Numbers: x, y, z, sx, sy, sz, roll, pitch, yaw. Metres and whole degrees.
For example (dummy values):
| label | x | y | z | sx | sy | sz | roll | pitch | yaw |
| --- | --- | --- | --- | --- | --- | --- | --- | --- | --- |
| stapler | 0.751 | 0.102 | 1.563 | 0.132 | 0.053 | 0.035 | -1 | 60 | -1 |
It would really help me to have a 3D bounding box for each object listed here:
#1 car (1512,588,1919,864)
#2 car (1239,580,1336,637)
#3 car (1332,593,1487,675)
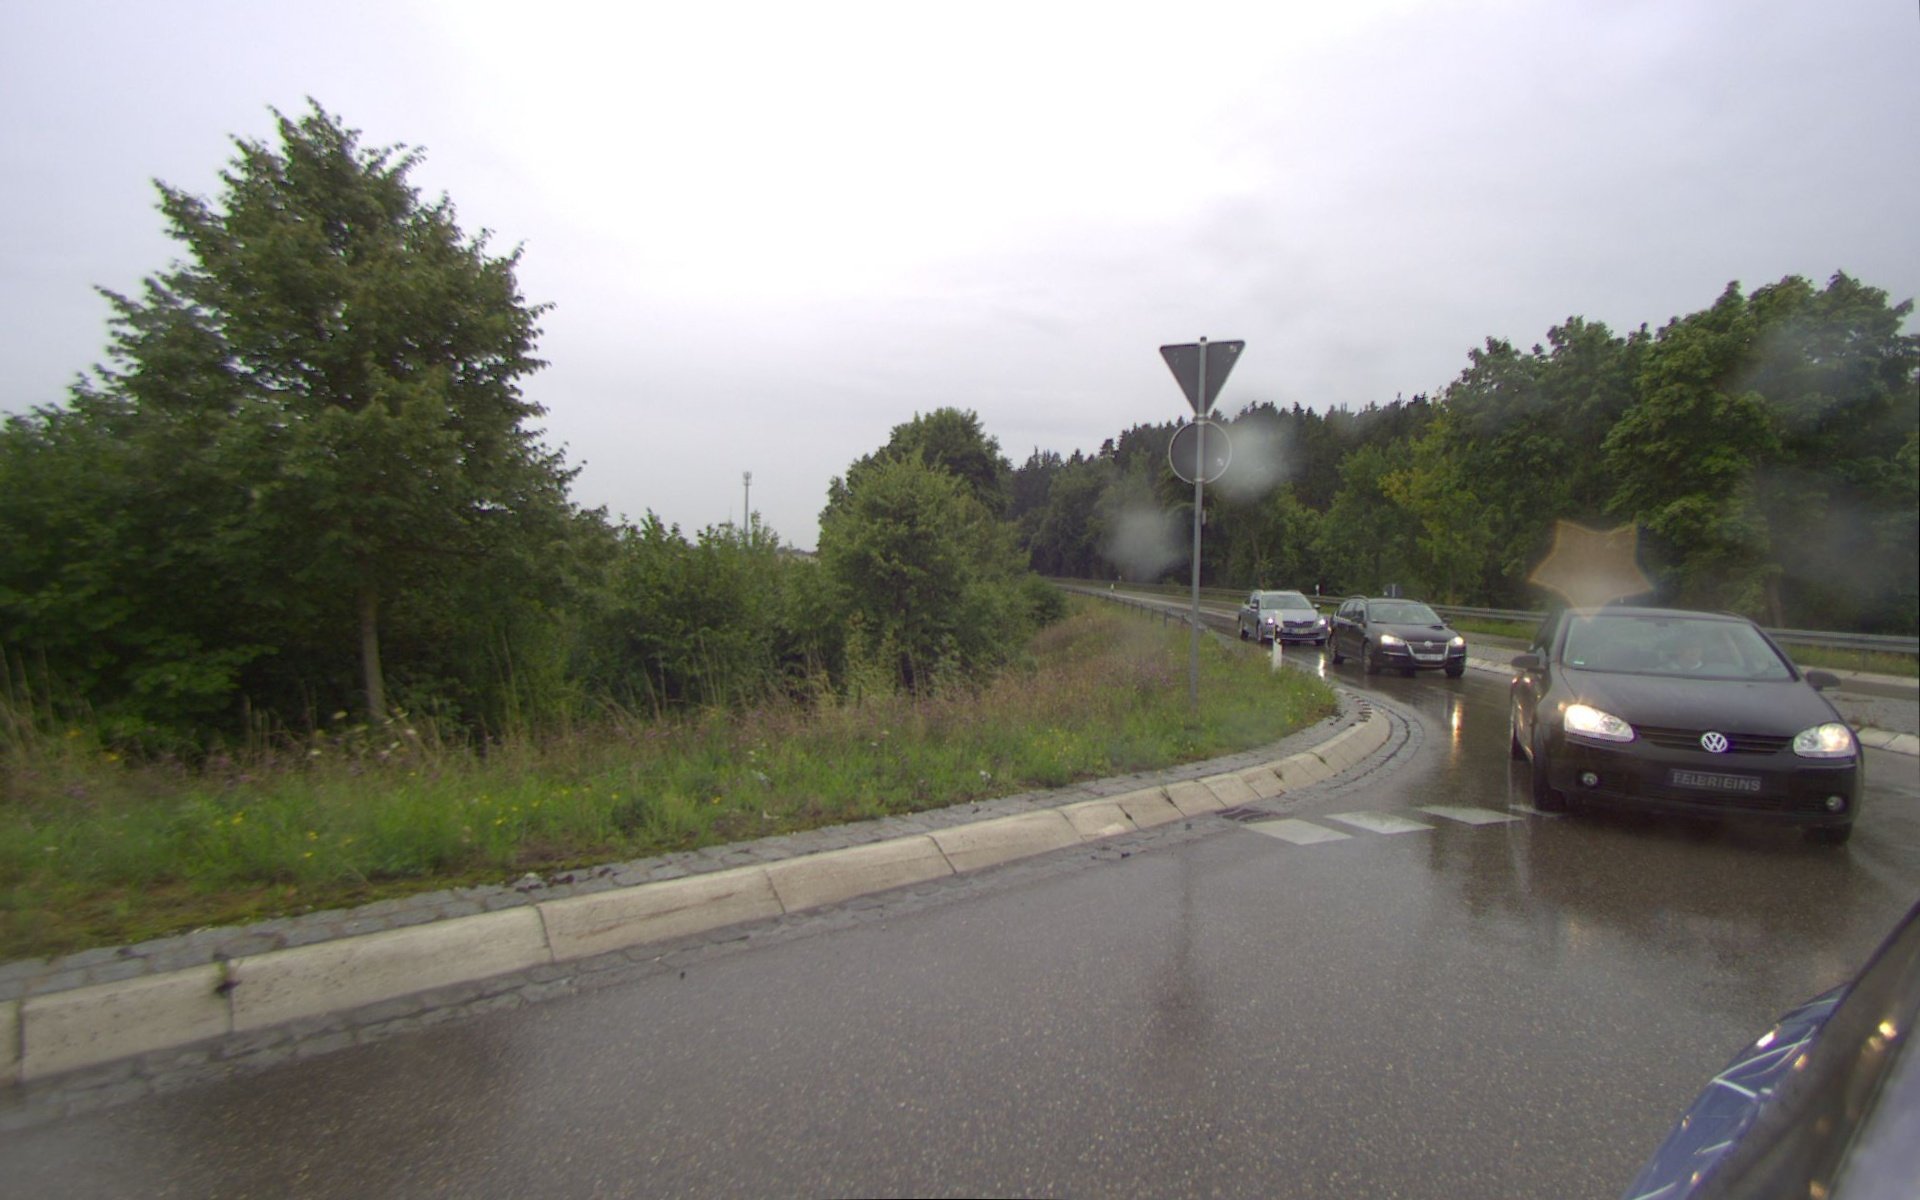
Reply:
| label | x | y | z | sx | sy | sz | roll | pitch | yaw |
| --- | --- | --- | --- | --- | --- | --- | --- | --- | --- |
| car | 5.468 | 0.700 | 7.931 | 1.857 | 1.439 | 4.459 | 2 | 1 | 28 |
| car | 9.348 | 0.213 | 29.233 | 1.734 | 1.439 | 4.496 | 2 | 1 | 6 |
| car | 8.859 | 0.597 | 20.350 | 1.920 | 1.388 | 4.486 | 2 | 1 | 12 |
